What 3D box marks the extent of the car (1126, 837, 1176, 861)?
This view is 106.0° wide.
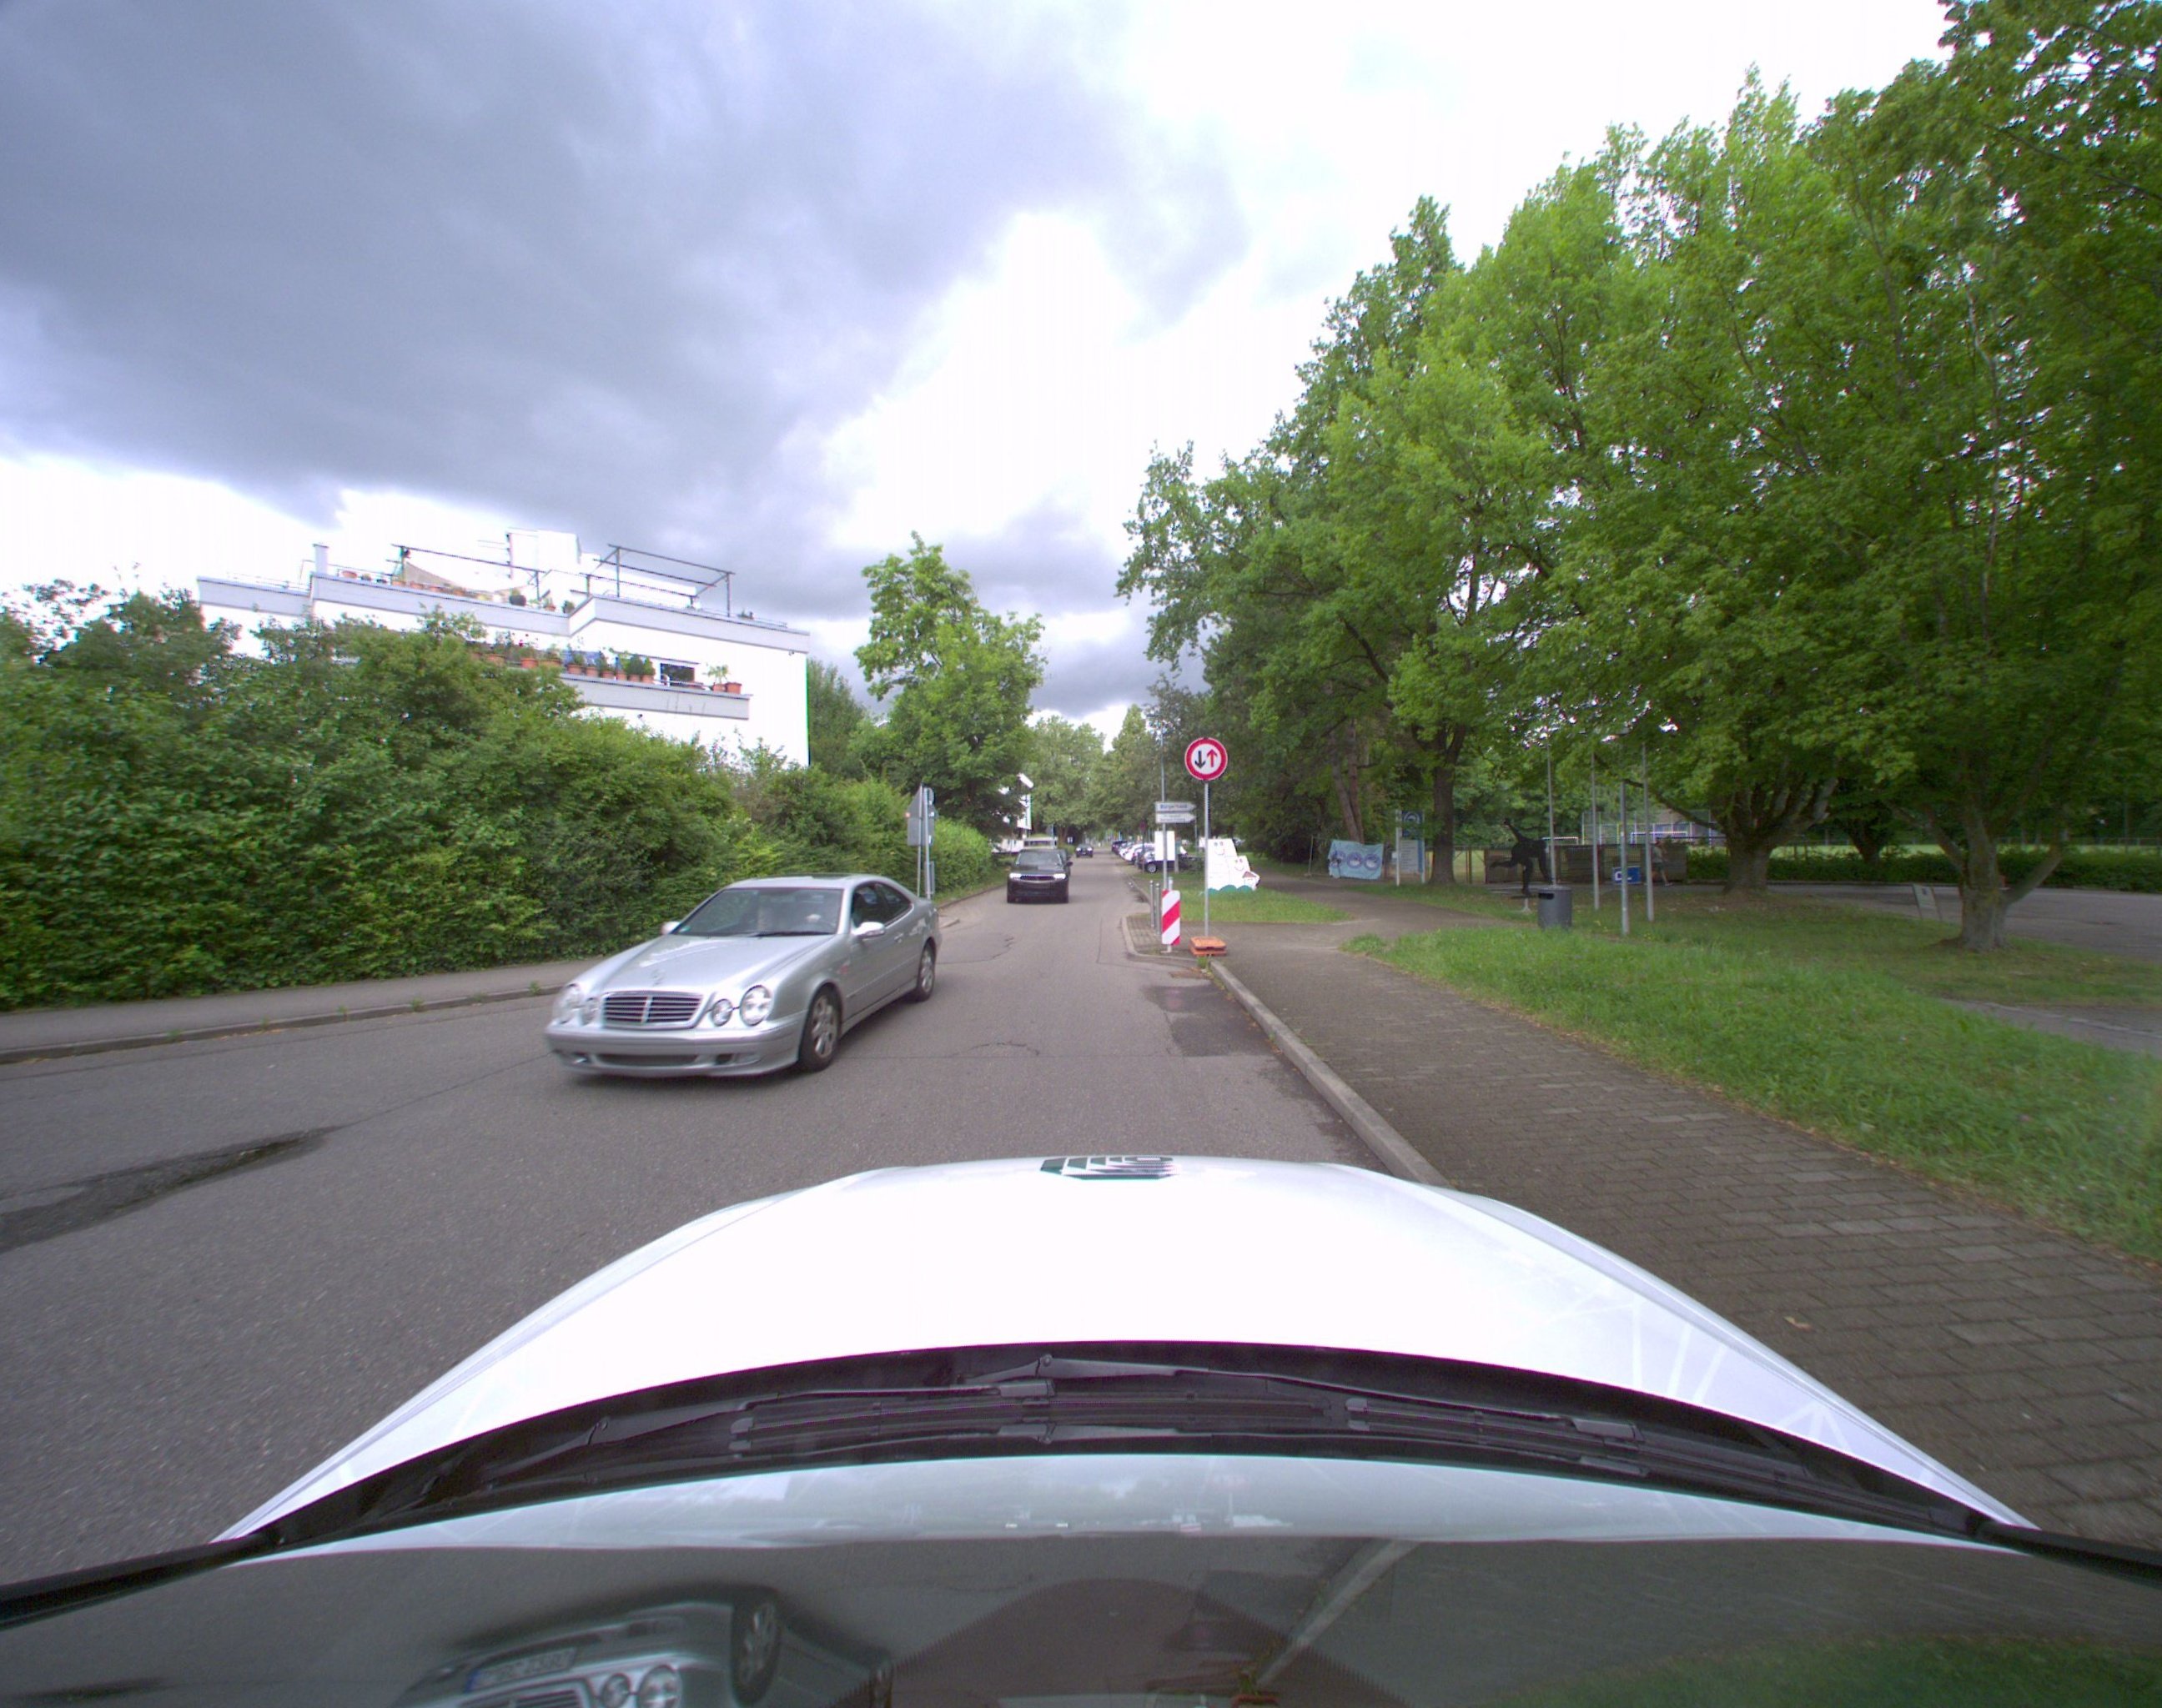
[{"bbox_3d":[6.028,-0.432,70.342,4.053,1.687,1.821,-5,0,-3],"label":"car"}]

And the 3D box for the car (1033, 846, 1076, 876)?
[{"bbox_3d":[-1.433,0.368,46.270,1.793,1.591,4.304,-1,0,7],"label":"car"}]

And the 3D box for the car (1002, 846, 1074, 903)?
[{"bbox_3d":[-1.238,0.574,25.249,1.796,1.591,4.298,-1,0,2],"label":"car"}]

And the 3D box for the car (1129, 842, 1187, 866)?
[{"bbox_3d":[5.774,0.008,61.326,4.053,1.488,1.821,-5,0,-3],"label":"car"}]

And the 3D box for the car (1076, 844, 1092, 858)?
[{"bbox_3d":[0.398,-0.408,101.407,1.962,1.747,4.338,-1,0,1],"label":"car"}]

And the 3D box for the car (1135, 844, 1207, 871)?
[{"bbox_3d":[5.339,0.218,48.754,4.049,1.434,2.000,-3,-1,0],"label":"car"}]

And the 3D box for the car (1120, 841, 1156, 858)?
[{"bbox_3d":[6.684,-0.499,95.827,4.053,1.687,1.821,-5,0,-3],"label":"car"}]

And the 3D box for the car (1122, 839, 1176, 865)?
[{"bbox_3d":[5.515,-0.168,66.464,4.053,1.687,1.821,-5,0,-3],"label":"car"}]

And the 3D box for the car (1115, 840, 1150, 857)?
[{"bbox_3d":[6.403,-0.684,100.848,4.053,1.687,1.821,-5,0,-3],"label":"car"}]

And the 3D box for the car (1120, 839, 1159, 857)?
[{"bbox_3d":[6.416,-0.659,89.952,4.053,1.687,1.821,-5,0,-3],"label":"car"}]

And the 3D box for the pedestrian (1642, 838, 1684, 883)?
[{"bbox_3d":[22.476,0.250,31.487,1.137,1.674,0.798,-3,-2,27],"label":"pedestrian"}]

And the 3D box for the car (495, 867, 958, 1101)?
[{"bbox_3d":[-2.528,0.833,7.139,1.772,1.306,4.304,-1,0,6],"label":"car"}]

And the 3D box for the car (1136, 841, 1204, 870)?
[{"bbox_3d":[5.510,0.110,50.869,4.049,1.568,1.822,-3,-1,0],"label":"car"}]

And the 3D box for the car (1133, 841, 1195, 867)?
[{"bbox_3d":[5.709,-0.019,56.226,4.049,1.568,1.823,-3,0,0],"label":"car"}]

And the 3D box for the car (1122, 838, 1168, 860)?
[{"bbox_3d":[5.979,-0.450,76.645,4.053,1.687,1.821,-5,0,-3],"label":"car"}]
